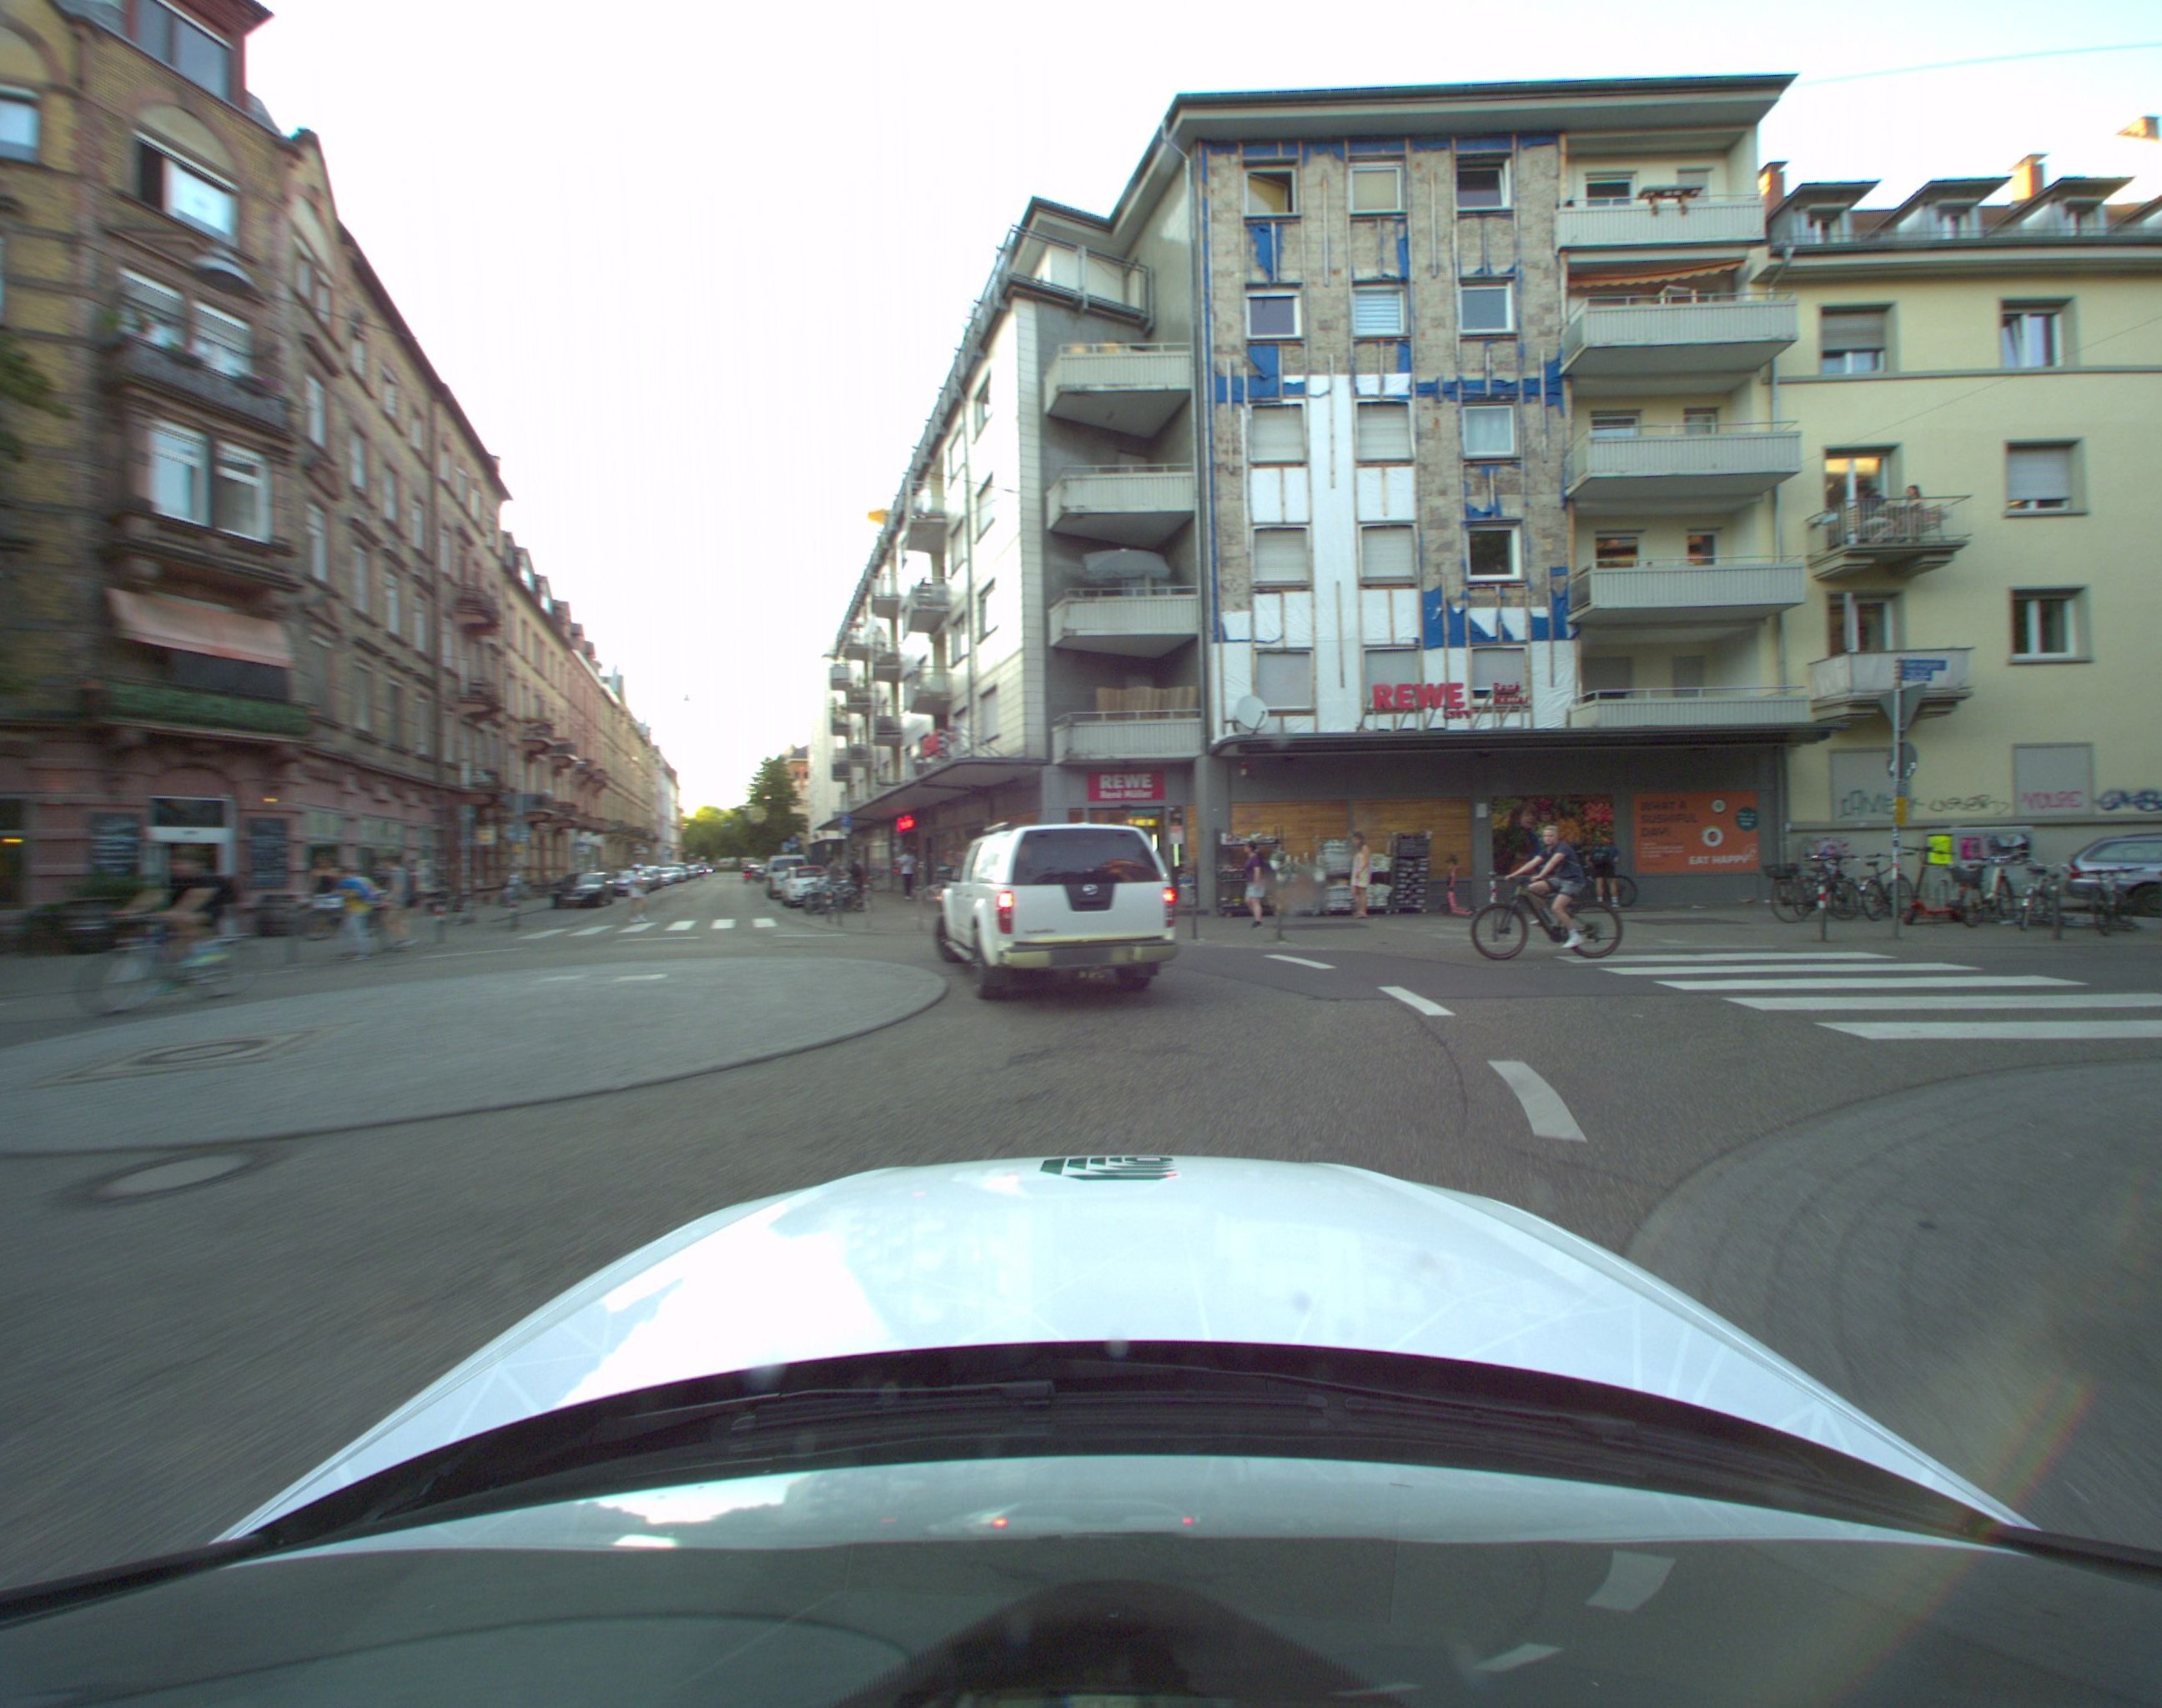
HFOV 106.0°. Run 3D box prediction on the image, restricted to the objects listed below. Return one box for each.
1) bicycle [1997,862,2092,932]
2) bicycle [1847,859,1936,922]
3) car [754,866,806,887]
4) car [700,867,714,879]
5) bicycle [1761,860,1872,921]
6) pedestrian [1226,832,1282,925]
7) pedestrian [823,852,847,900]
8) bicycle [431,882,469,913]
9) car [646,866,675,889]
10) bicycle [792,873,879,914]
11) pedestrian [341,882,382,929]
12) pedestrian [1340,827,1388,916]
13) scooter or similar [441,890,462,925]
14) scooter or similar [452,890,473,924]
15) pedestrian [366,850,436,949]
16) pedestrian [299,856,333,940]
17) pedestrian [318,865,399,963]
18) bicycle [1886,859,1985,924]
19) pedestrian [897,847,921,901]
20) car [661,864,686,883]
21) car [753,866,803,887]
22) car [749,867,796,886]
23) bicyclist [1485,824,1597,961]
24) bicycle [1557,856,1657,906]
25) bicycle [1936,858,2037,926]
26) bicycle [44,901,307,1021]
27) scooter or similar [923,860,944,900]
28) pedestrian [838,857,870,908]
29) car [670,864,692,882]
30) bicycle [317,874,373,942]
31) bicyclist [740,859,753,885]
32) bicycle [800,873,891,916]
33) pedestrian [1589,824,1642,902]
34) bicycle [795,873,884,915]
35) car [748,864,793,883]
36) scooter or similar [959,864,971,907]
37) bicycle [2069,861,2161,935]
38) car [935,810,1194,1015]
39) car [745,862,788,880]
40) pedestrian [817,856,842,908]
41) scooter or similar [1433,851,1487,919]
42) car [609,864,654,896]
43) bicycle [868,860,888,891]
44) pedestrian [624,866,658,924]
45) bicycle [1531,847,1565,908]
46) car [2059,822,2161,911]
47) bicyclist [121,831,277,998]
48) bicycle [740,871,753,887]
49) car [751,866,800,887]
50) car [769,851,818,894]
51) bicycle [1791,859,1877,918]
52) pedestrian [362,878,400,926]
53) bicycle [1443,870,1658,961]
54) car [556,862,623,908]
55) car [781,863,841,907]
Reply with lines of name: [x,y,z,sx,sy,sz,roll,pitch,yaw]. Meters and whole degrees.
bicycle: [14.922,0.633,12.597,2.020,1.027,0.487,0,-2,-27]
bicycle: [13.975,0.611,14.030,2.018,1.027,0.375,0,-2,-25]
car: [-25.173,1.878,68.099,4.005,1.750,1.826,0,-1,-24]
car: [-57.267,2.953,124.831,1.843,1.750,3.968,0,-1,-24]
bicycle: [12.593,0.615,13.947,1.654,1.027,0.377,0,-2,-6]
pedestrian: [3.178,0.448,14.961,0.722,1.652,0.705,1,-2,-42]
pedestrian: [-8.632,0.763,28.574,0.704,1.663,0.716,0,-2,-25]
bicycle: [-22.155,1.507,28.626,0.388,1.036,2.464,0,-1,-22]
car: [-34.312,1.904,66.503,1.843,1.750,3.968,0,-1,-24]
bicycle: [-7.684,1.213,25.554,2.476,1.038,0.611,-4,1,-28]
pedestrian: [-18.746,1.337,21.228,0.652,1.191,0.535,0,-2,-27]
pedestrian: [5.697,0.351,16.386,0.658,1.726,0.727,-2,-2,40]
scooter or similar: [-17.745,1.501,22.938,1.250,0.929,0.235,-2,-2,42]
scooter or similar: [-17.571,1.504,23.137,1.250,0.929,0.235,-2,-2,42]
pedestrian: [-13.380,0.870,16.034,0.608,1.885,0.912,-1,-2,36]
pedestrian: [-16.995,0.962,18.097,0.566,1.840,0.508,-2,-2,44]
pedestrian: [-13.184,1.074,14.877,0.906,1.736,0.612,0,-2,-19]
bicycle: [14.226,0.599,13.544,2.018,1.027,0.487,0,-2,-25]
pedestrian: [-6.184,0.714,29.319,0.723,1.907,0.697,0,-2,-23]
car: [-37.610,1.814,75.191,1.843,1.750,3.968,0,-1,-24]
car: [-26.081,1.927,70.125,4.005,1.750,1.826,0,-1,-24]
car: [-28.481,2.047,75.110,4.005,1.750,1.826,0,-1,-24]
bicyclist: [5.891,0.474,10.477,0.990,1.689,0.792,-1,0,4]
bicycle: [11.238,0.576,17.418,1.869,1.027,0.378,0,-1,0]
bicycle: [14.492,0.586,13.022,2.018,1.027,0.487,0,-2,-25]
bicycle: [-10.382,1.174,9.477,0.835,1.171,1.936,0,-1,2]
scooter or similar: [-5.030,0.877,27.738,0.441,1.290,1.656,0,-1,-20]
pedestrian: [-7.510,0.926,26.969,0.694,1.663,0.726,-1,-2,26]
car: [-40.444,1.951,82.409,1.843,1.750,3.968,0,-1,-24]
bicycle: [-16.428,1.159,18.208,0.426,1.443,1.887,0,-2,-27]
bicyclist: [-25.894,1.381,63.043,0.842,1.944,0.778,0,-2,-24]
bicycle: [-7.037,1.193,24.375,2.475,1.038,0.611,-4,1,-28]
pedestrian: [11.121,0.189,16.970,0.660,1.601,0.719,-1,-1,7]
bicycle: [-7.392,1.199,24.957,2.476,1.038,0.611,-4,1,-28]
car: [-30.209,1.881,79.116,4.005,1.750,1.826,0,-1,-24]
scooter or similar: [-3.452,0.914,24.169,0.219,1.237,0.961,0,1,-15]
bicycle: [15.236,0.621,11.955,2.020,1.027,0.487,0,-2,-27]
car: [-0.531,0.481,9.855,1.942,1.810,4.974,-1,1,-16]
car: [-31.596,1.667,81.868,4.005,1.750,1.826,0,-1,-24]
pedestrian: [-8.150,0.888,26.358,0.723,1.663,0.697,0,-2,-23]
scooter or similar: [7.458,0.589,16.072,0.321,1.266,1.285,0,1,-8]
car: [-25.608,1.448,46.552,1.843,1.750,4.129,0,-1,-24]
bicycle: [-9.699,1.017,38.839,0.558,1.408,2.078,0,-1,-25]
pedestrian: [-12.614,1.146,23.371,0.802,1.621,0.936,0,-2,-25]
bicycle: [9.587,0.475,16.758,0.345,1.203,1.819,-1,-1,22]
car: [19.918,0.196,13.564,2.008,1.526,4.495,1,-2,-35]
bicyclist: [-10.378,0.685,9.623,0.835,1.876,0.879,0,-1,2]
bicycle: [-25.906,1.913,63.093,0.842,1.171,1.920,0,-1,-24]
car: [-27.215,1.984,72.510,4.005,1.750,1.826,0,-1,-24]
car: [-13.842,0.881,39.140,1.951,1.934,3.968,0,-1,-24]
bicycle: [13.651,0.600,14.755,2.018,1.027,0.375,0,-2,-25]
pedestrian: [-19.180,1.316,22.323,0.652,1.286,0.535,0,-2,-27]
bicycle: [5.976,0.777,10.473,2.267,1.073,0.792,-1,0,4]
car: [-20.227,1.246,33.685,1.843,1.750,3.968,0,-1,-24]
car: [-10.364,1.148,31.143,1.843,1.542,3.968,0,-1,-24]
